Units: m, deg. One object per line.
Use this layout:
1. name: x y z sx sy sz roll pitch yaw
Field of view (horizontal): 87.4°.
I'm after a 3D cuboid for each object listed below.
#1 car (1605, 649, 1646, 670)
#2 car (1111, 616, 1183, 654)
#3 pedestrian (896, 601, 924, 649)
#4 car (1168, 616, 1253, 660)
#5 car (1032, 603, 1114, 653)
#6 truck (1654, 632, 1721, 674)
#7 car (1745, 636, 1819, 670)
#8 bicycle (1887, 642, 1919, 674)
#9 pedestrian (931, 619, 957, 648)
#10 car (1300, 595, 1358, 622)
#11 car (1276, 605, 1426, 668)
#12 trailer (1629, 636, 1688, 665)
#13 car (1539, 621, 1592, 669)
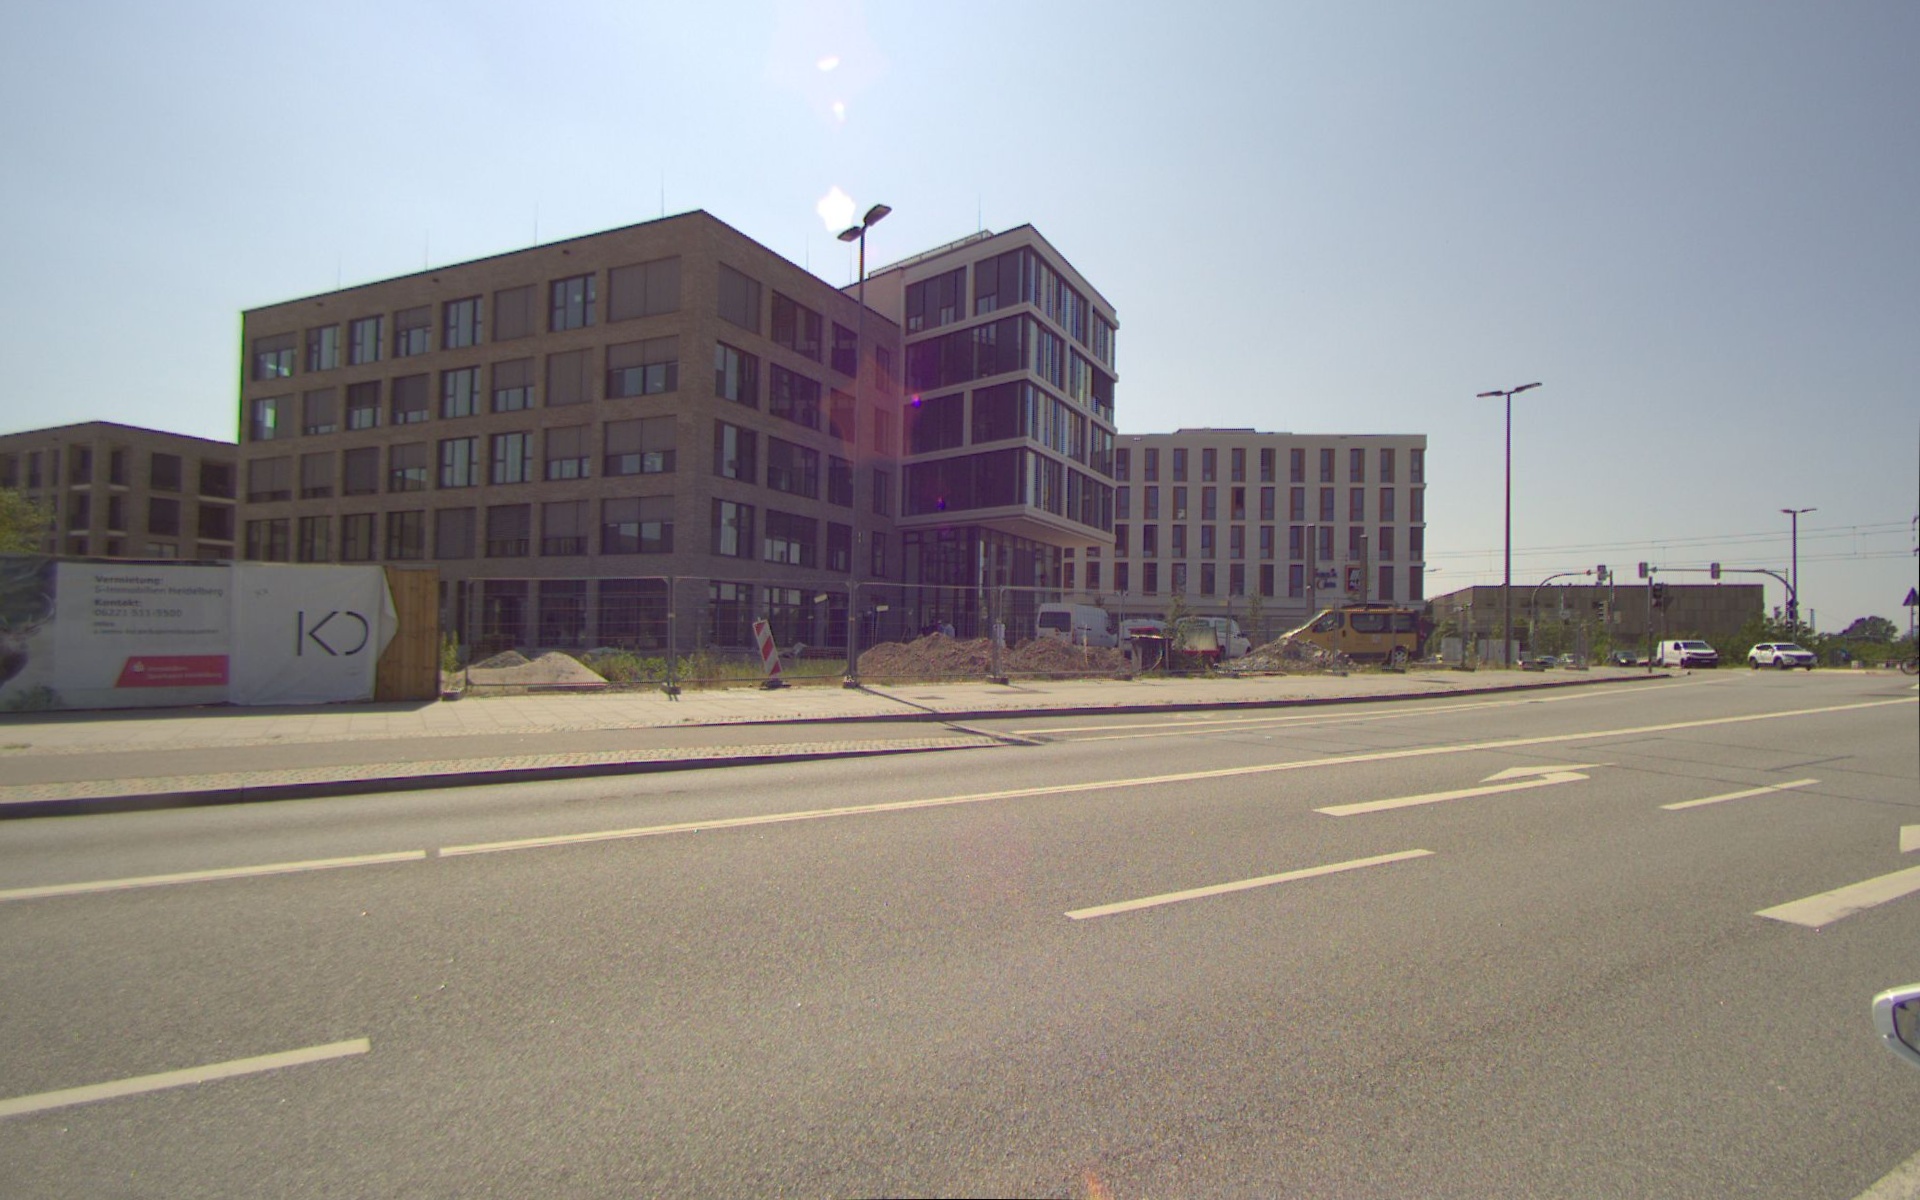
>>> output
1. car: 51.778 4.625 78.172 1.633 1.408 3.788 2 0 18
2. car: 8.296 1.506 44.291 1.774 1.528 3.991 2 0 31
3. pedestrian: -2.202 1.093 43.951 0.949 2.040 0.940 2 0 -17
4. car: 10.728 1.594 42.774 1.969 1.730 4.545 2 0 36
5. car: 5.168 1.227 45.379 2.175 2.083 4.164 2 0 30
6. truck: 48.527 3.503 67.136 1.960 2.574 4.711 1 -1 14
7. car: 50.583 3.230 61.881 1.892 1.839 4.049 1 -1 13
8. bicycle: 35.905 2.165 37.152 0.629 1.148 2.309 2 -1 -29
9. pedestrian: -0.783 1.691 50.123 1.098 1.391 0.742 2 0 -17
10. car: 30.367 0.697 82.704 1.986 2.040 3.949 2 0 -43
11. car: 13.280 1.219 34.372 4.395 1.915 2.001 2 0 9
12. trailer: 49.604 3.544 71.412 1.960 1.799 4.288 2 0 14
13. car: 27.486 1.987 45.680 1.644 2.040 3.996 2 0 26
